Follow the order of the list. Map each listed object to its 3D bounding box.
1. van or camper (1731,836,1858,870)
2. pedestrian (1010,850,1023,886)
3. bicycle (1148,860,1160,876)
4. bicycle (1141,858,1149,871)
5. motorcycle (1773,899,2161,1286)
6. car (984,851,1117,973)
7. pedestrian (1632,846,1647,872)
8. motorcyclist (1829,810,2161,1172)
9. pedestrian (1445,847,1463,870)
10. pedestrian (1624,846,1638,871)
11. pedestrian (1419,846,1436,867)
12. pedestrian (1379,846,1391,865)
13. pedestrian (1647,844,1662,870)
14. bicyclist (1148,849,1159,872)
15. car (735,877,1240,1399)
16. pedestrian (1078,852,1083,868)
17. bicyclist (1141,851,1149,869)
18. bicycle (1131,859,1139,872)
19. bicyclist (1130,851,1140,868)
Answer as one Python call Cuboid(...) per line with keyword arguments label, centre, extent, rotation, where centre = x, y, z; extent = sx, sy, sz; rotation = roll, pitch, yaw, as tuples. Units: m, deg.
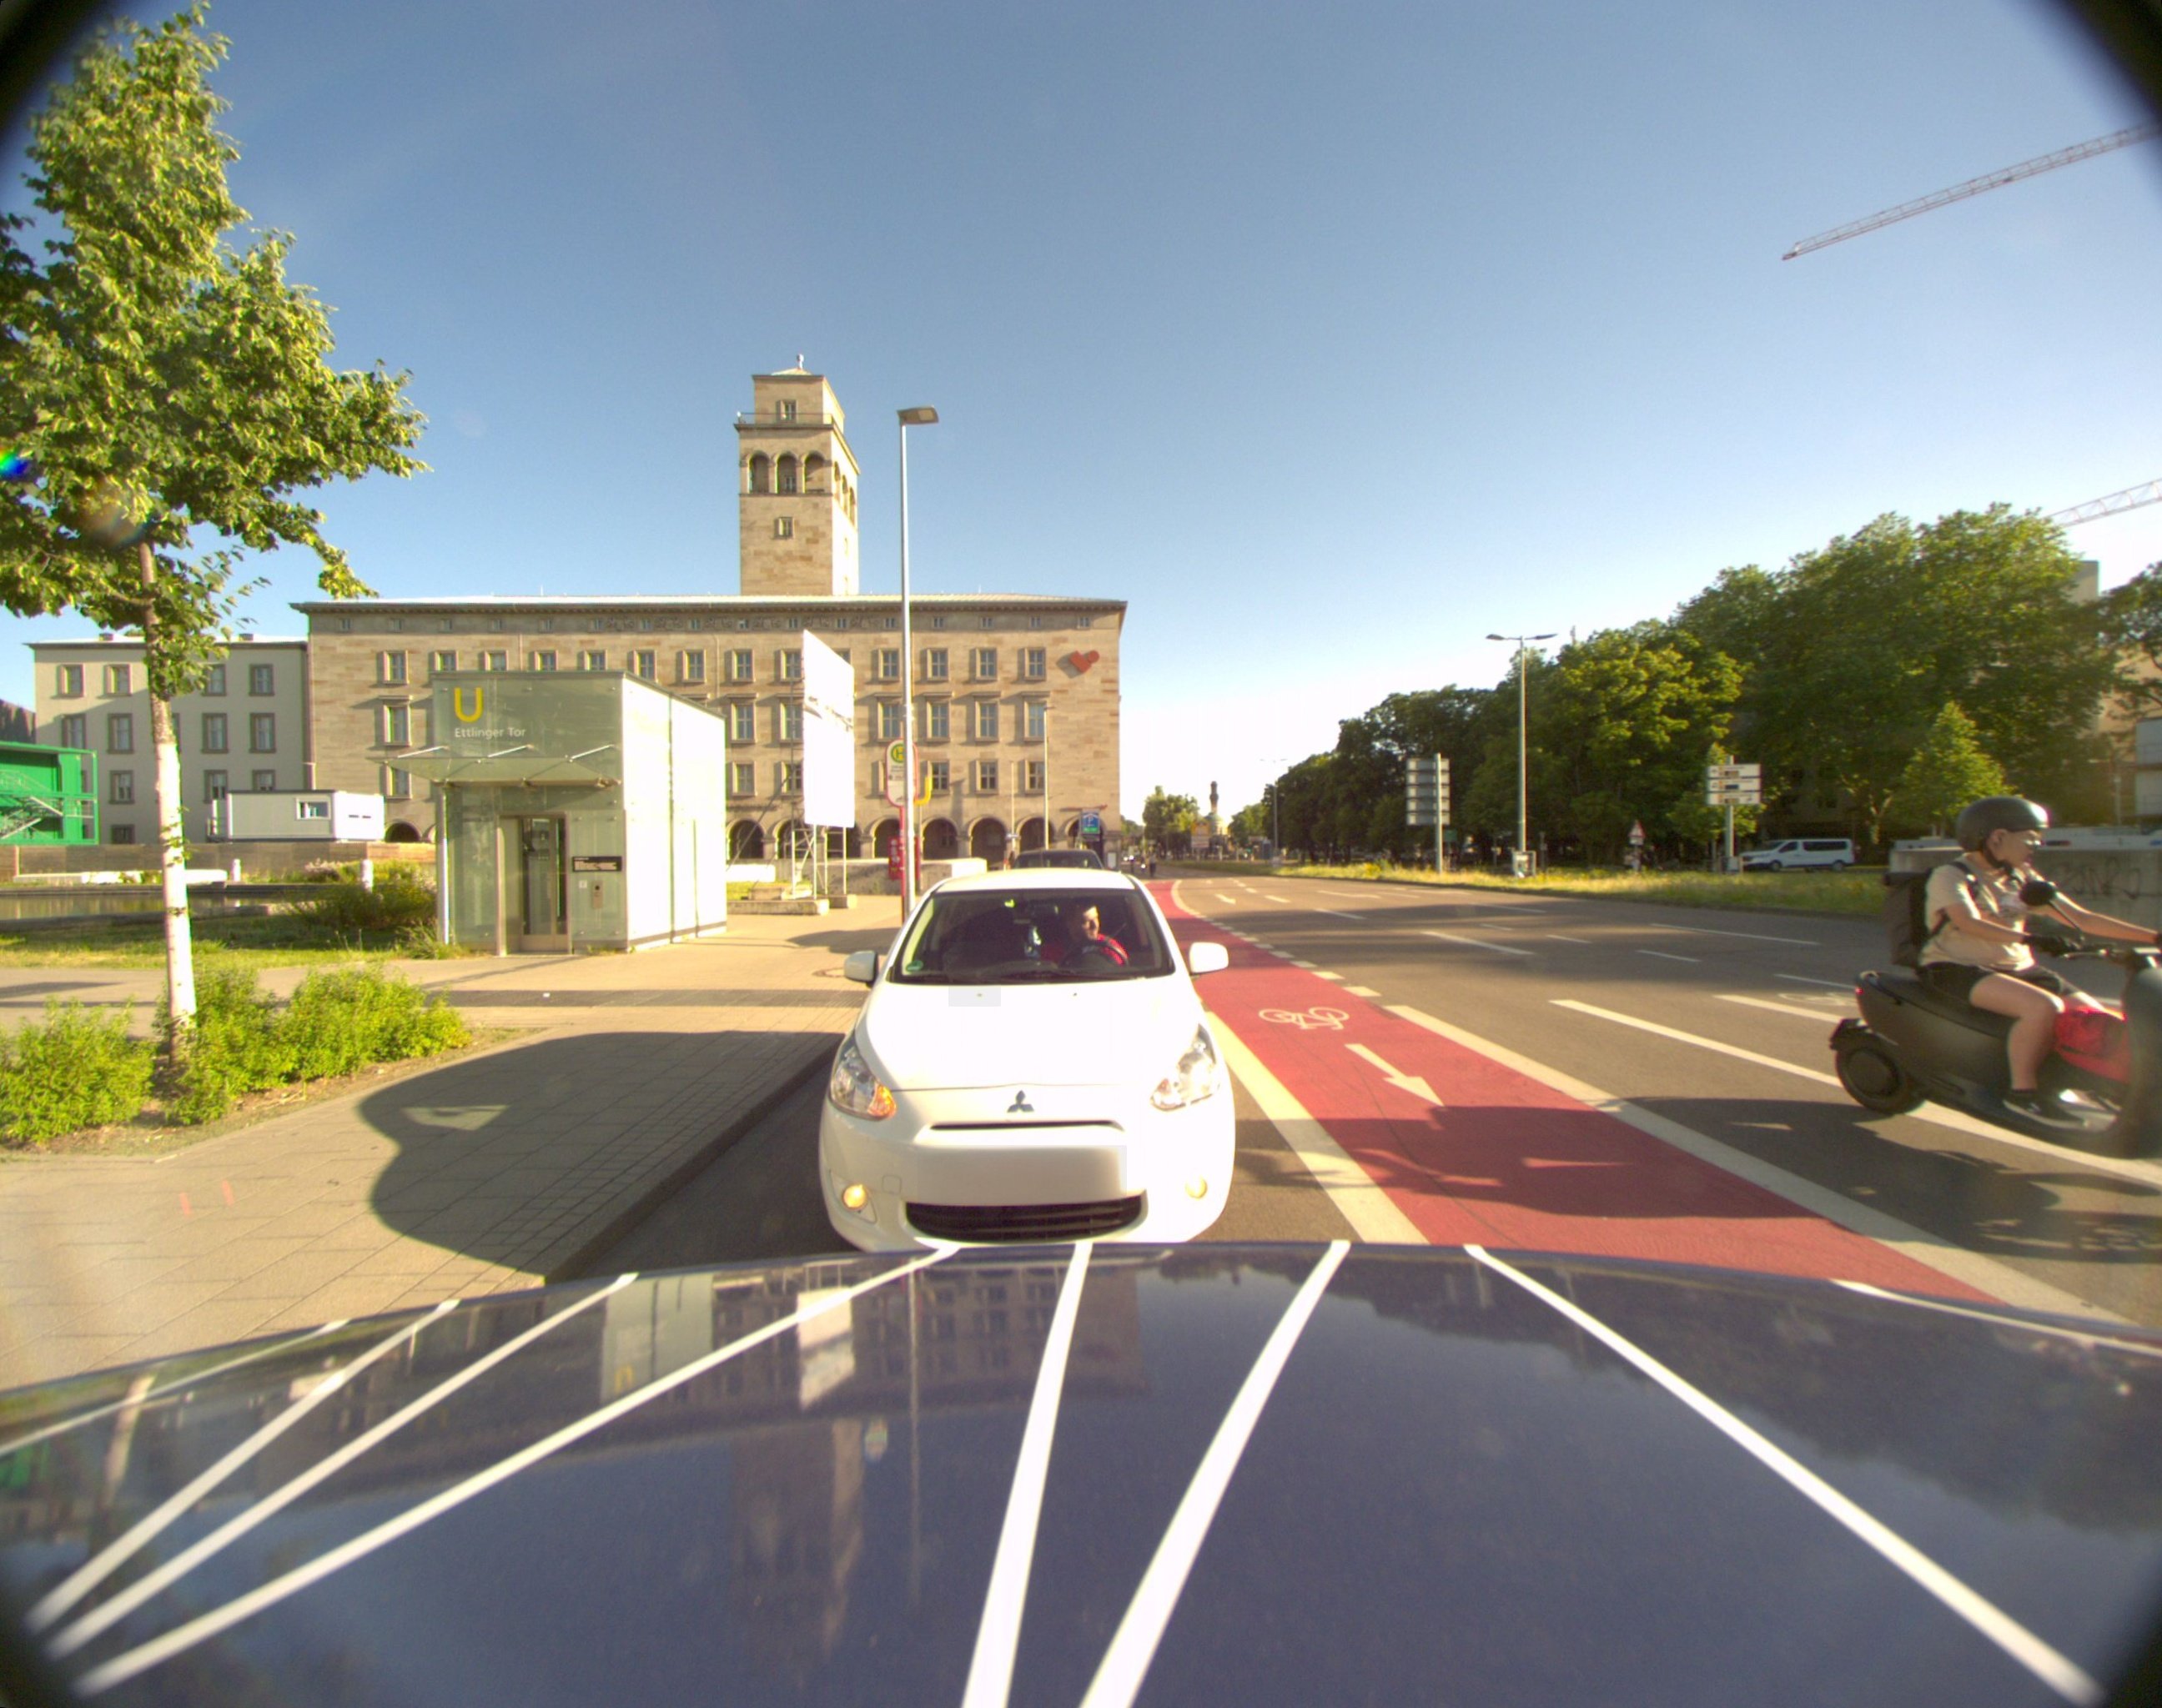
Cuboid(label="van or camper", centre=(42.237, -0.052, 45.064), extent=(5.499, 1.934, 1.951), rotation=(-1, 0, 4))
Cuboid(label="pedestrian", centre=(-3.044, 0.678, 36.067), extent=(0.552, 1.692, 0.553), rotation=(-1, 1, -1))
Cuboid(label="bicycle", centre=(5.497, 1.078, 57.504), extent=(0.741, 1.140, 1.890), rotation=(-1, 0, 1))
Cuboid(label="bicycle", centre=(6.007, 0.939, 71.533), extent=(0.689, 1.185, 1.506), rotation=(-1, 1, 1))
Cuboid(label="motorcycle", centre=(4.277, 0.899, 3.278), extent=(0.828, 1.273, 1.944), rotation=(-1, 0, 1))
Cuboid(label="car", centre=(-0.394, 0.797, 12.541), extent=(1.833, 1.660, 4.000), rotation=(-1, 0, 1))
Cuboid(label="pedestrian", centre=(32.979, 0.311, 44.863), extent=(0.499, 1.502, 0.494), rotation=(-1, 1, 1))
Cuboid(label="motorcyclist", centre=(4.279, 0.549, 3.490), extent=(0.823, 1.455, 0.877), rotation=(-1, 1, 1))
Cuboid(label="pedestrian", centre=(32.673, 0.425, 66.478), extent=(1.126, 1.952, 0.815), rotation=(-2, 1, 1))
Cuboid(label="pedestrian", centre=(32.377, 0.268, 44.713), extent=(0.499, 1.502, 0.494), rotation=(-1, 1, 1))
Cuboid(label="pedestrian", centre=(32.597, 0.250, 71.449), extent=(0.951, 1.952, 1.058), rotation=(-2, 1, -14))
Cuboid(label="pedestrian", centre=(32.265, 0.152, 80.620), extent=(0.954, 2.002, 0.842), rotation=(-1, 2, 42))
Cuboid(label="pedestrian", centre=(33.966, 0.182, 44.989), extent=(0.499, 1.502, 0.494), rotation=(-1, 1, 1))
Cuboid(label="bicyclist", centre=(5.479, 0.506, 57.477), extent=(0.807, 1.690, 0.852), rotation=(-1, 1, 1))
Cuboid(label="car", centre=(-0.256, 0.929, 4.310), extent=(1.519, 1.447, 4.000), rotation=(-1, 0, 1))
Cuboid(label="pedestrian", centre=(-0.094, 0.812, 98.079), extent=(0.612, 2.002, 0.727), rotation=(-2, 1, 0))
Cuboid(label="bicyclist", centre=(6.006, 0.540, 71.562), extent=(0.674, 1.649, 0.877), rotation=(-1, 1, 1))
Cuboid(label="bicycle", centre=(5.073, 1.040, 71.824), extent=(0.689, 1.185, 1.506), rotation=(-1, 1, 1))
Cuboid(label="bicyclist", centre=(5.079, 0.552, 71.756), extent=(0.823, 1.568, 0.877), rotation=(-1, 1, 1))
